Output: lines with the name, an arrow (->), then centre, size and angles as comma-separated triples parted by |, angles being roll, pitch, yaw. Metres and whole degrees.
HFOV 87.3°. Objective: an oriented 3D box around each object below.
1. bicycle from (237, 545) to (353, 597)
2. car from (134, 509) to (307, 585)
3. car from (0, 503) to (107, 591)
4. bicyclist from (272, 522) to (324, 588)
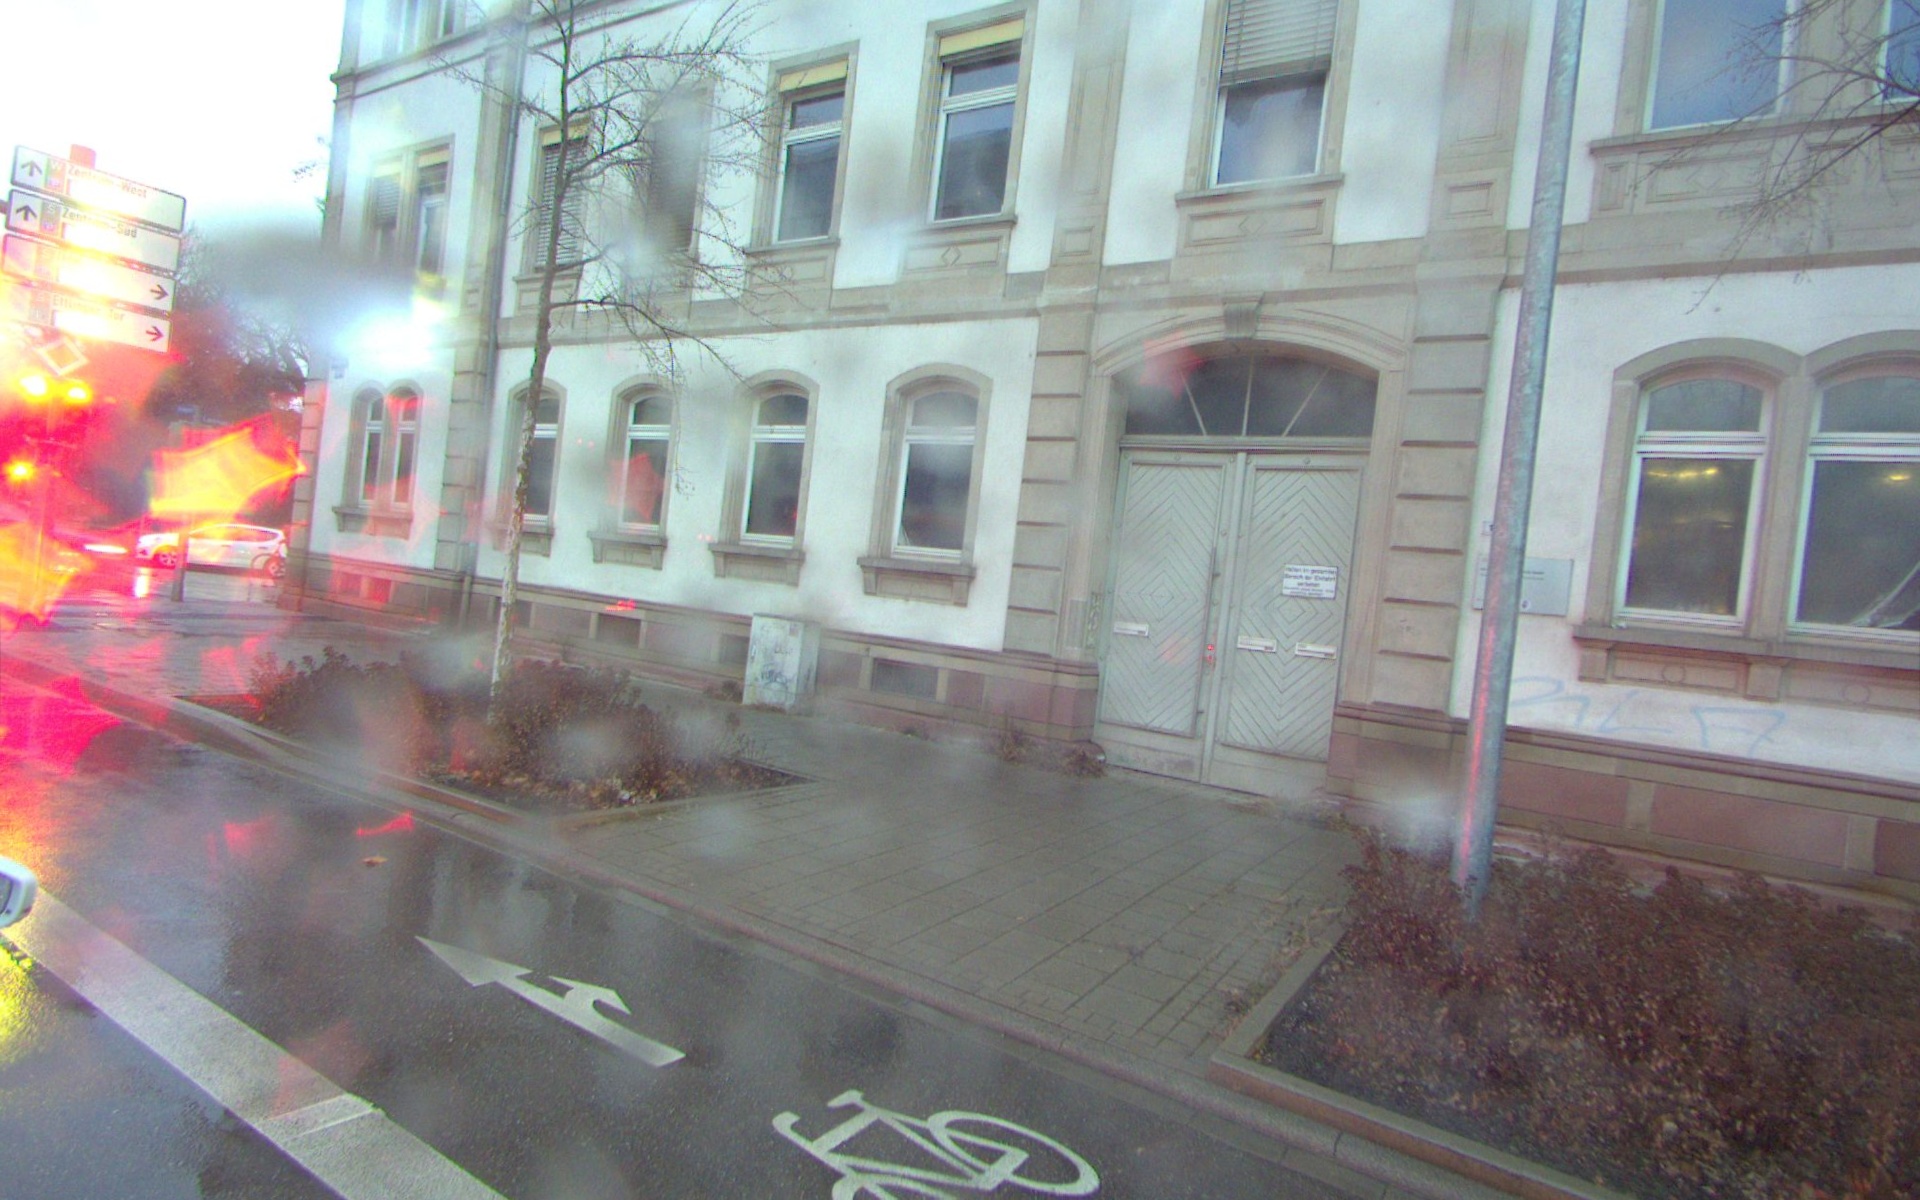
bicycle -> -19.270, -0.821, 29.203 | 2.658, 1.101, 0.806 | 10, -3, -40
car -> -21.956, -1.529, 30.088 | 3.932, 1.571, 1.734 | 9, -3, -34
car -> -20.262, -1.279, 20.409 | 4.293, 1.547, 1.745 | 9, -3, -38
bicyclist -> -19.219, -1.299, 29.208 | 0.969, 1.778, 0.804 | 8, -2, -41
